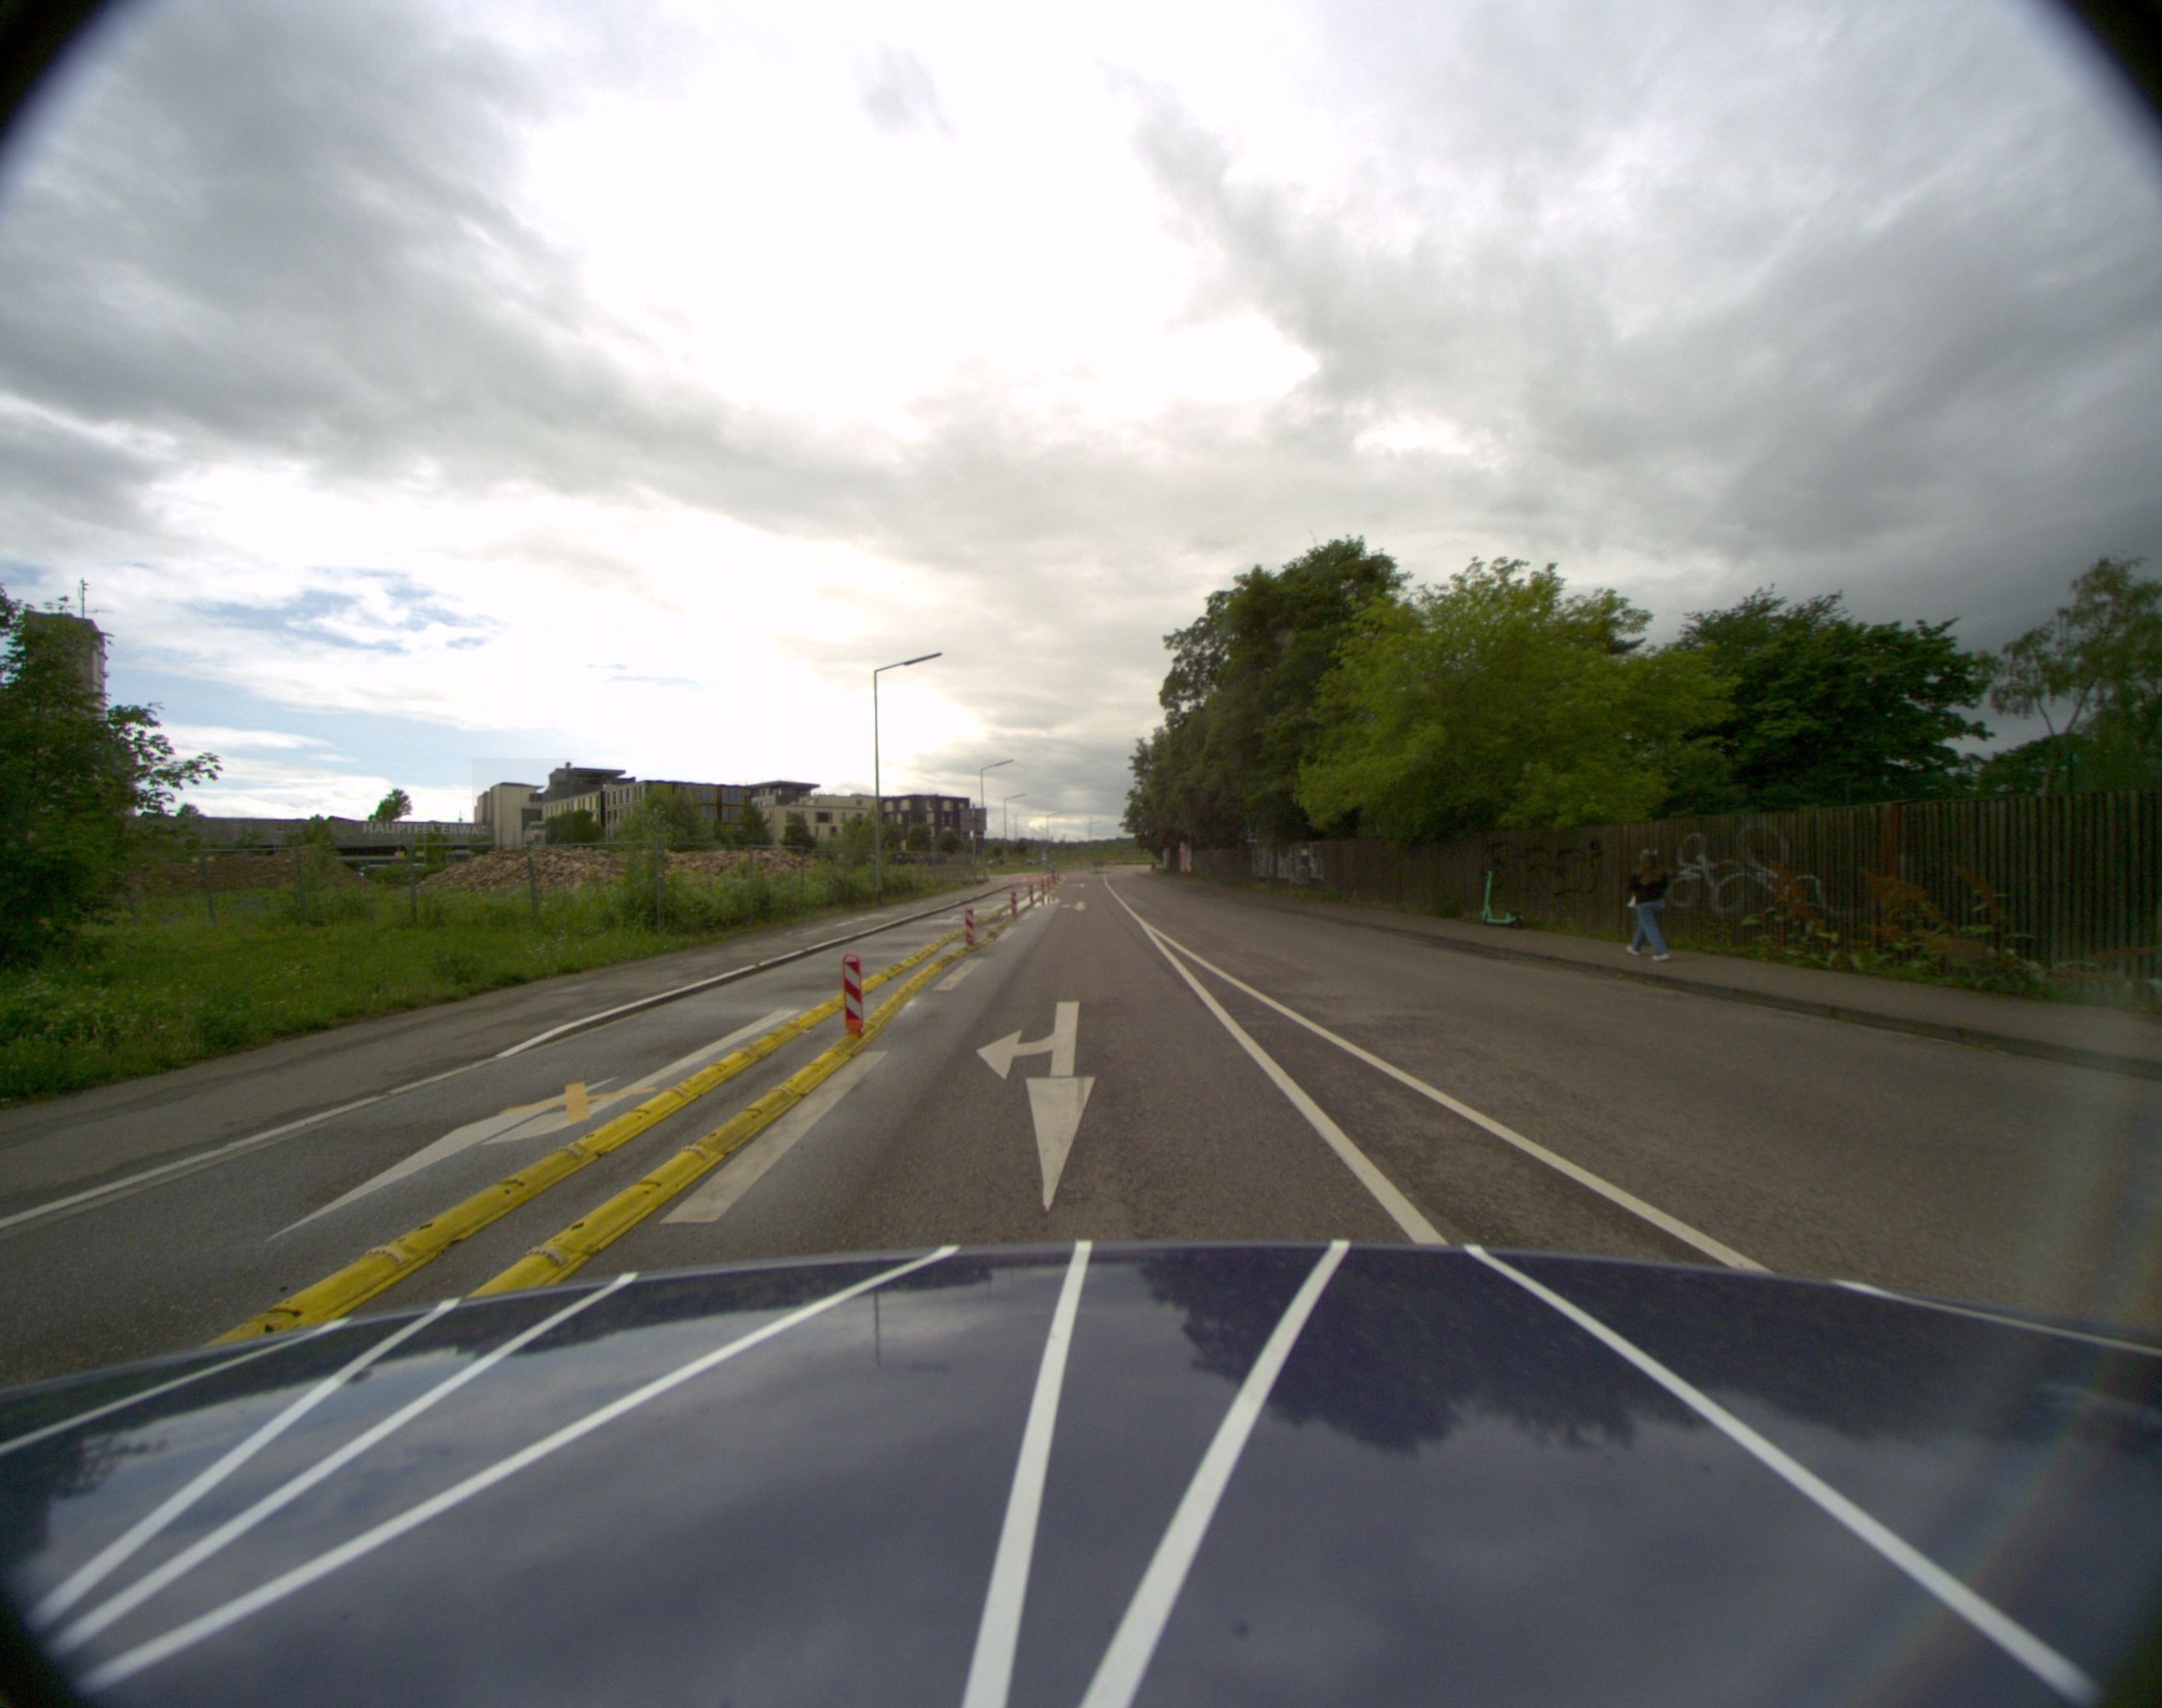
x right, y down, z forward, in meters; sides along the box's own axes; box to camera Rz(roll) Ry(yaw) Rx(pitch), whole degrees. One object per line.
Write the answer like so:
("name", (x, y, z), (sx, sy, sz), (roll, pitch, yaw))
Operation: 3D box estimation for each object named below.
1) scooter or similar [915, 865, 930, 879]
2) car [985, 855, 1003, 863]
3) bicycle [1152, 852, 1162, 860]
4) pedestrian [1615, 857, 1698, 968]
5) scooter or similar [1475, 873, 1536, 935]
("scooter or similar", (-13.192, 1.502, 63.177), (1.323, 1.178, 0.447), (-1, 0, 41))
("car", (-21.631, 1.190, 189.005), (1.994, 2.002, 4.009), (0, 0, 42))
("bicycle", (9.344, 0.247, 93.256), (0.582, 0.992, 1.773), (-3, 0, 28))
("pedestrian", (8.192, 0.812, 10.840), (0.614, 1.520, 0.724), (-1, 0, -4))
("scooter or similar", (8.614, 0.988, 15.461), (0.424, 1.164, 1.303), (-1, 0, -5))
